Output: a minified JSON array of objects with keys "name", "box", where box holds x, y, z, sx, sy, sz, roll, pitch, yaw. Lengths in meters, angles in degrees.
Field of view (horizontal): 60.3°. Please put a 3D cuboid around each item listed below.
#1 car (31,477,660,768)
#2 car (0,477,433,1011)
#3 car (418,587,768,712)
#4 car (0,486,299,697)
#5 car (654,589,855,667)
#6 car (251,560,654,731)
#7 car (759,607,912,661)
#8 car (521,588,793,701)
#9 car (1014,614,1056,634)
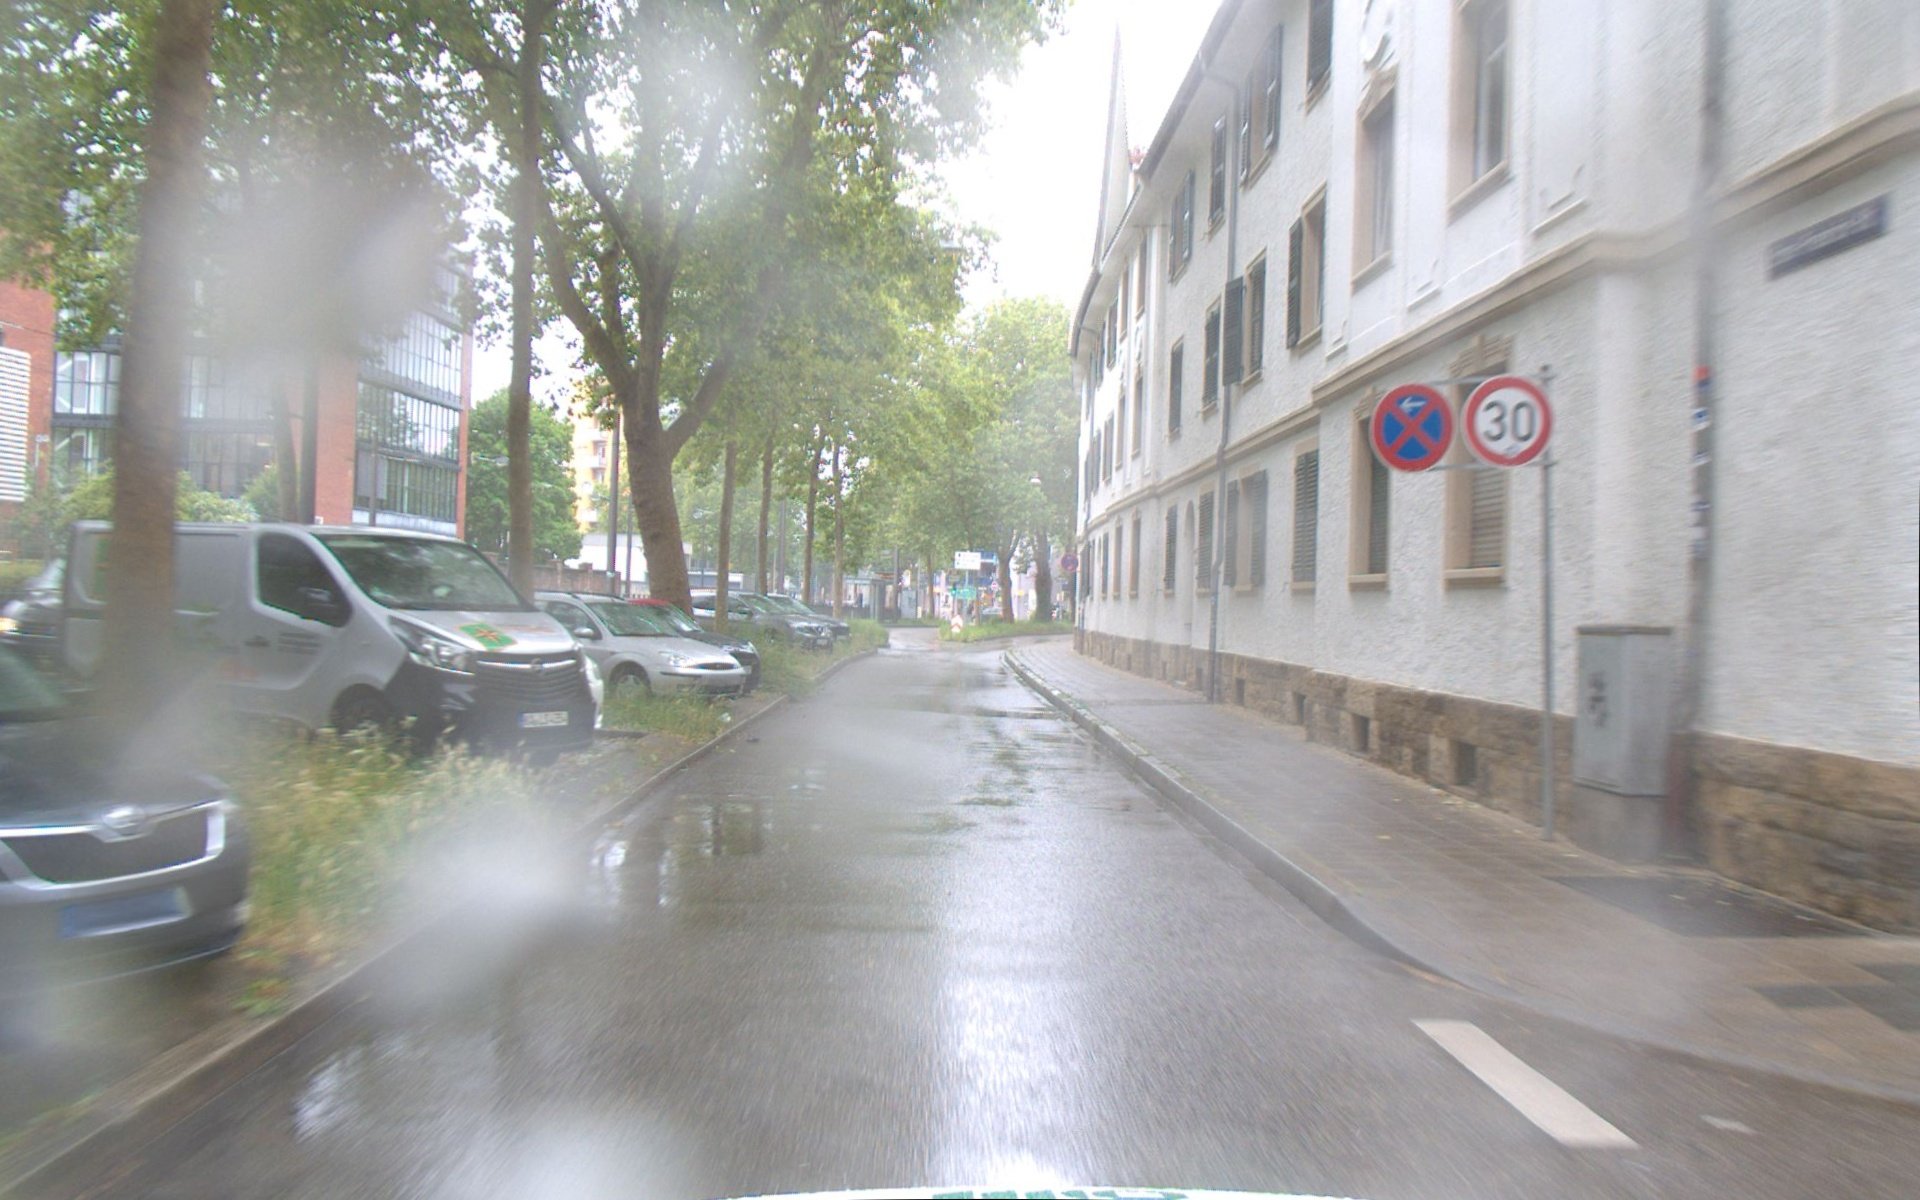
[{"name":"car","box":[-5.115,0.165,13.606,5.019,2.012,2.099,0,-2,30]},{"name":"car","box":[-4.207,0.325,6.106,4.218,1.462,1.746,3,0,26]},{"name":"car","box":[-4.894,0.617,21.895,4.460,1.508,1.772,0,-2,29]},{"name":"car","box":[-9.604,-0.052,19.012,1.953,2.049,5.027,3,-1,-1]},{"name":"car","box":[-4.887,0.651,39.325,4.371,1.625,1.921,2,-1,25]},{"name":"car","box":[-5.022,0.417,16.287,3.703,1.508,1.719,0,-2,30]},{"name":"car","box":[-3.775,0.982,49.839,4.270,1.539,1.957,0,0,30]},{"name":"car","box":[-4.508,0.628,24.541,3.734,1.548,1.719,0,-2,30]},{"name":"car","box":[7.517,2.404,166.177,3.968,1.625,1.969,6,-3,-43]}]
